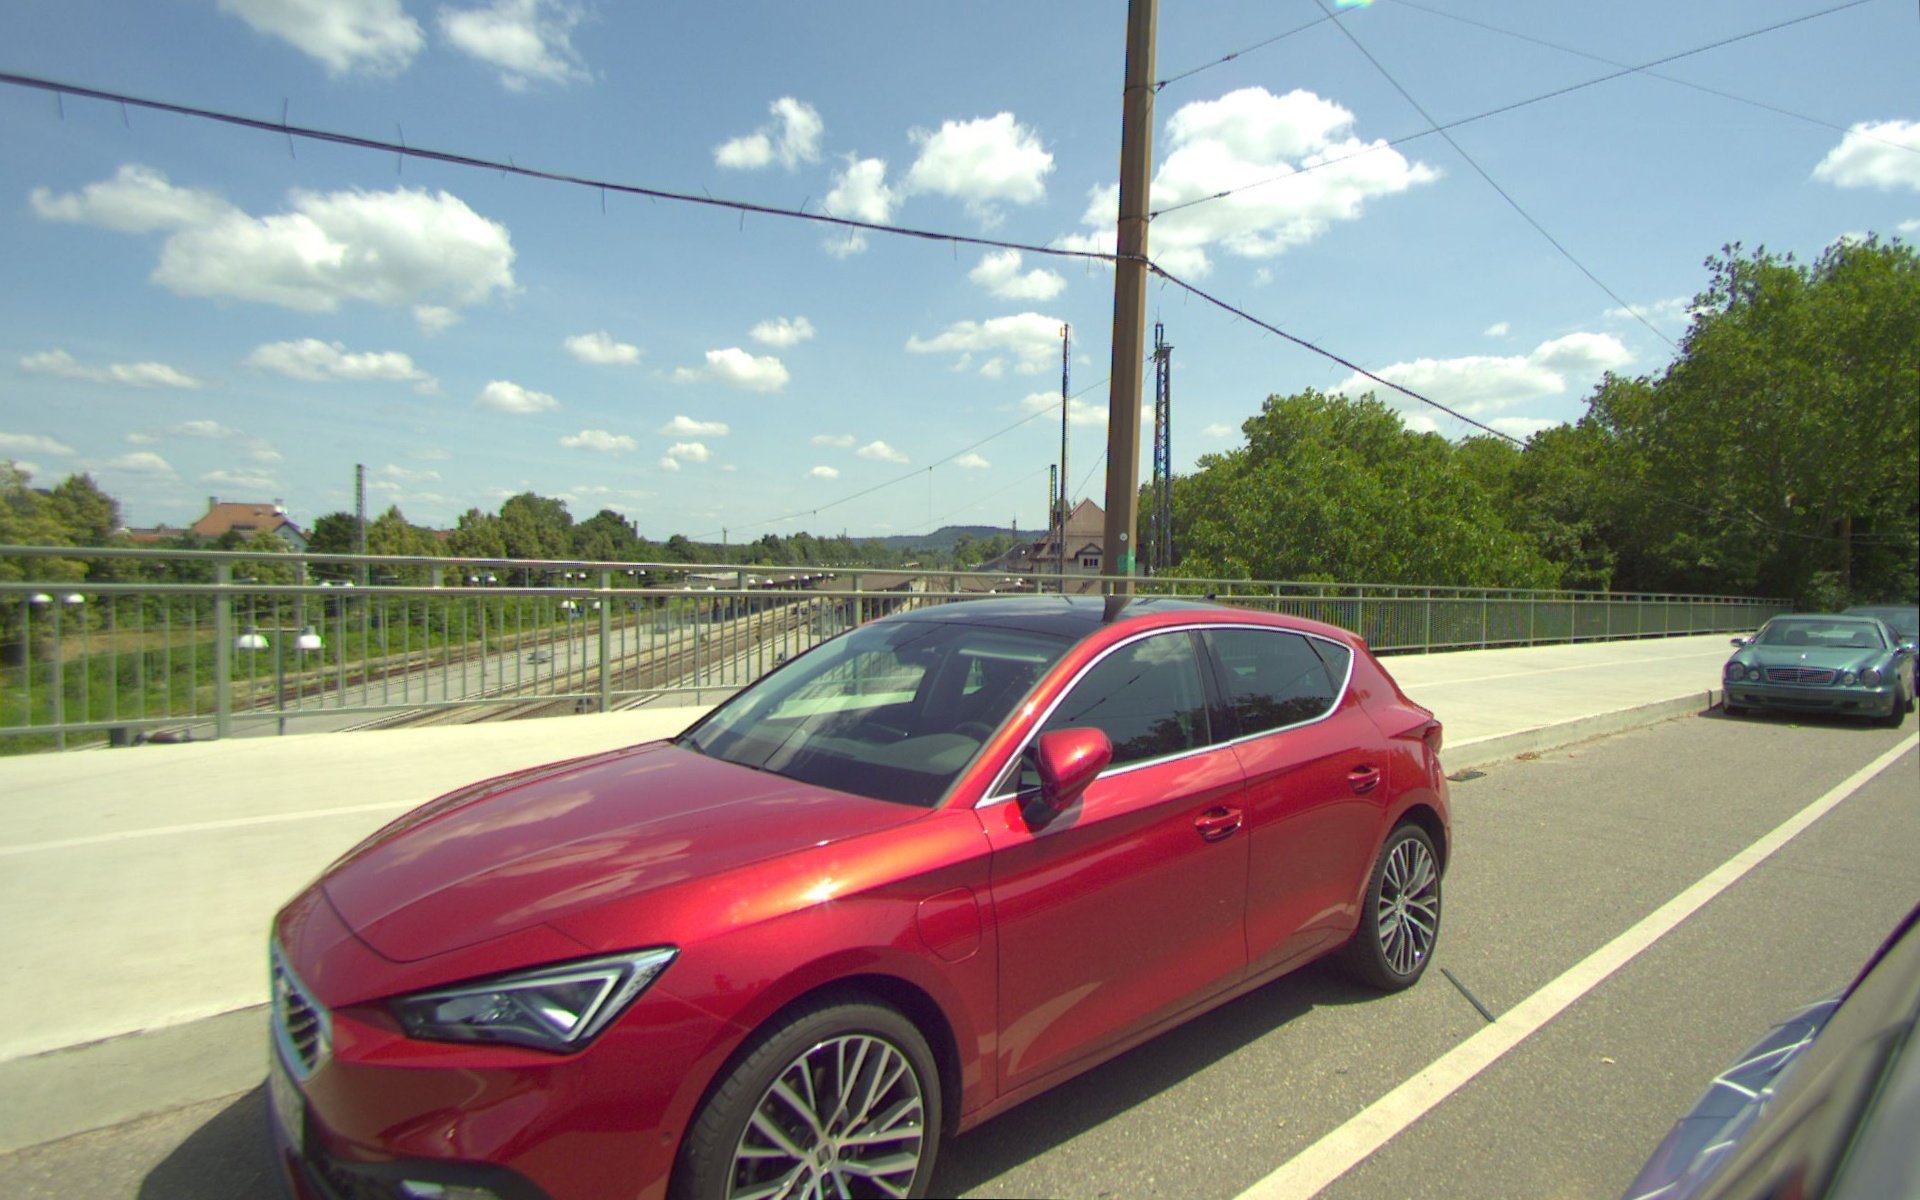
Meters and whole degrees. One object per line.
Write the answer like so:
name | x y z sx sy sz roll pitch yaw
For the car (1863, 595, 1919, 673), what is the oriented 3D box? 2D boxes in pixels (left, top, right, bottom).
car | 21.237 0.690 21.967 4.085 1.578 1.828 0 -2 -40

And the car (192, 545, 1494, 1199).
car | 0.098 0.660 3.432 4.210 1.478 1.650 0 0 -41

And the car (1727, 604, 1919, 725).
car | 11.955 0.748 13.766 4.515 1.376 1.686 0 0 -43

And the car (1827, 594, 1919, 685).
car | 16.890 0.647 18.032 4.312 1.472 1.638 0 0 -42
